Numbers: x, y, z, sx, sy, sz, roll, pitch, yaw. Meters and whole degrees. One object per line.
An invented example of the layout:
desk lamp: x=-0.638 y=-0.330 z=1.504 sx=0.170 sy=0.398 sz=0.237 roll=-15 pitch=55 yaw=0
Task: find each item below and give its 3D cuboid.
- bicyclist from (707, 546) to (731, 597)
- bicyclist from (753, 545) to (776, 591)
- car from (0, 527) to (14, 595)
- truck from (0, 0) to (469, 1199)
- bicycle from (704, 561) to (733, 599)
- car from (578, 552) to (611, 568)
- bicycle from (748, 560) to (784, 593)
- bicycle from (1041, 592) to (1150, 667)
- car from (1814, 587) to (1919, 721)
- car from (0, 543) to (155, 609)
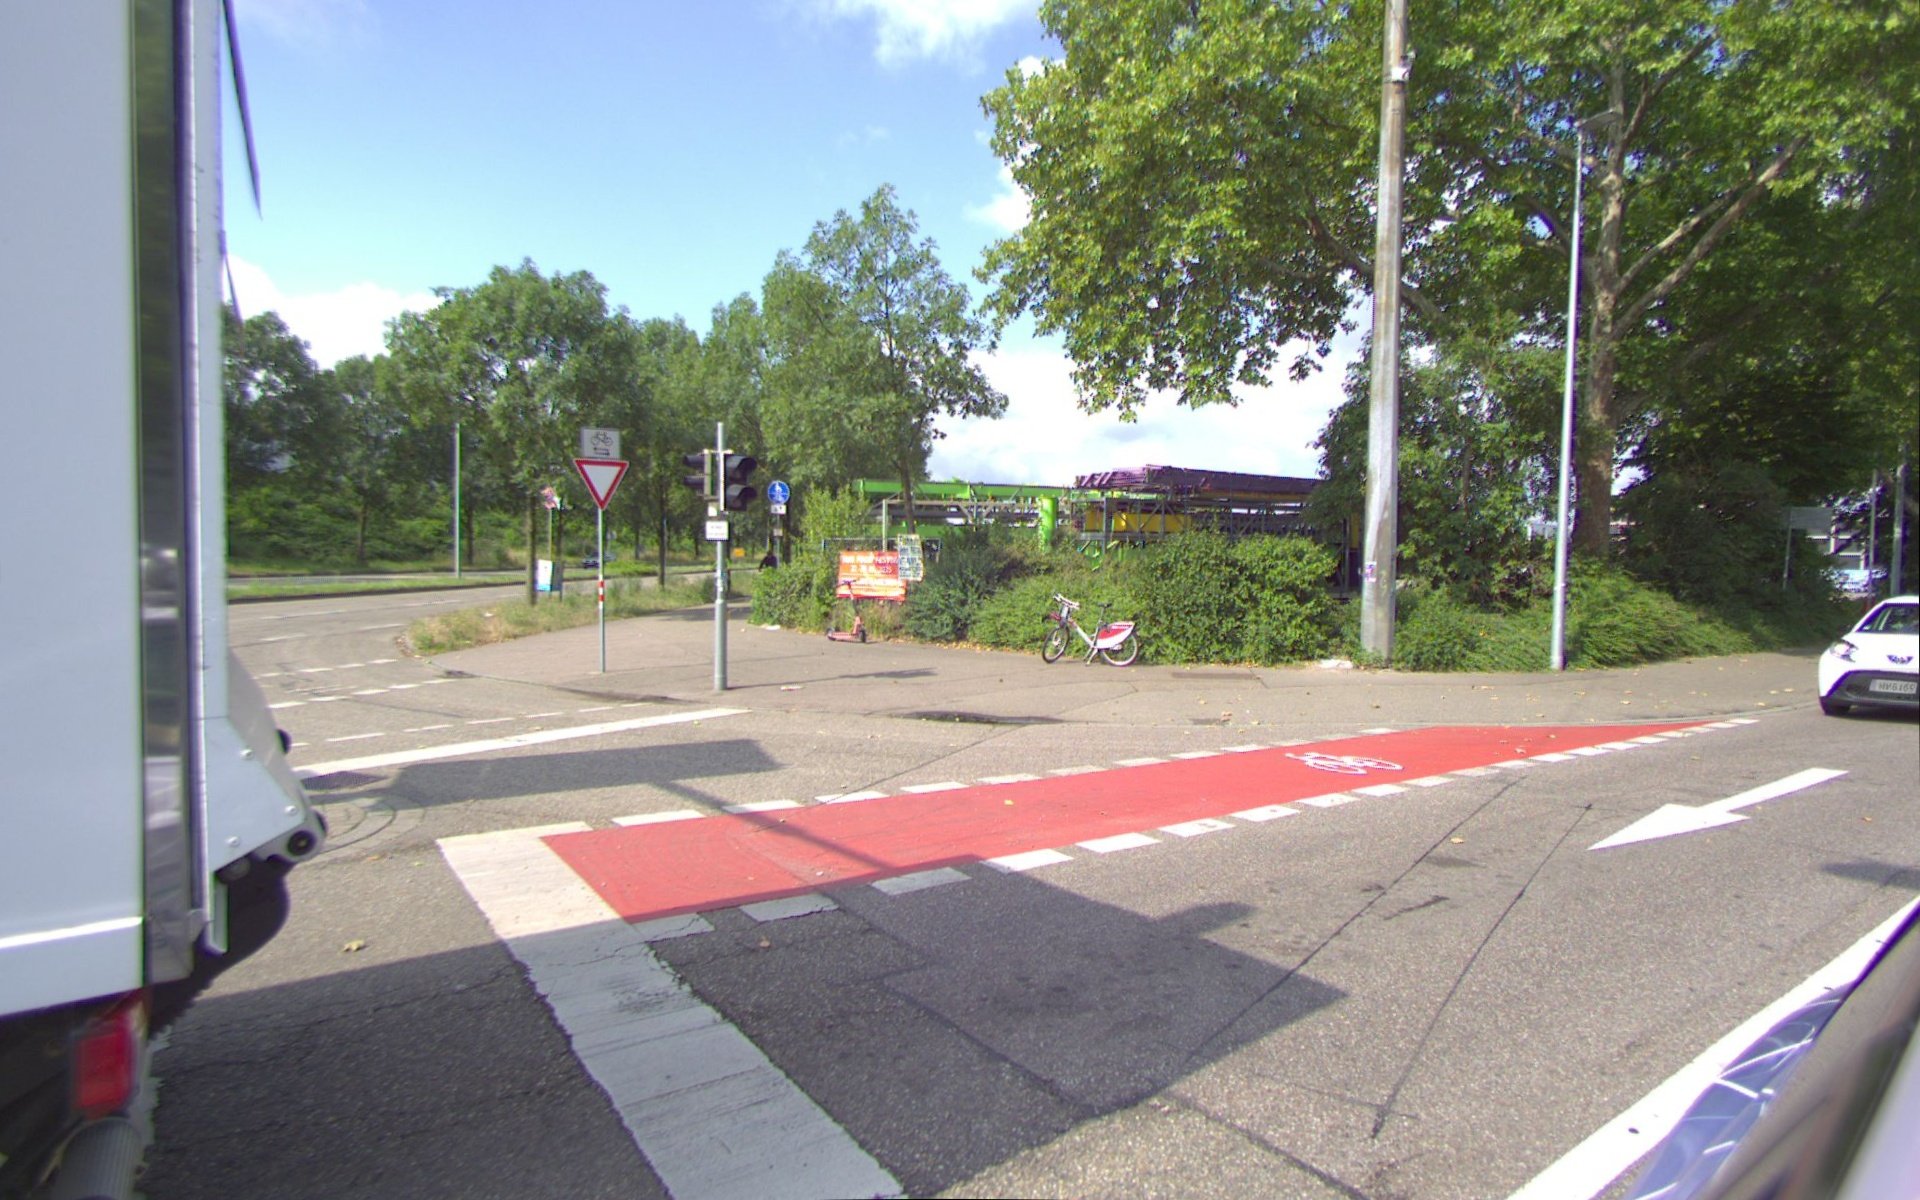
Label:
bicyclist: x=-8.440 y=-0.989 z=35.469 sx=0.664 sy=1.701 sz=0.838 roll=-4 pitch=-1 yaw=-8
bicyclist: x=-7.356 y=-1.189 z=38.127 sx=0.666 sy=1.707 sz=0.754 roll=1 pitch=1 yaw=5
car: x=-24.650 y=-0.879 z=22.931 sx=1.787 sy=1.663 sz=4.802 roll=1 pitch=3 yaw=3
truck: x=-3.907 y=-0.191 z=0.874 sx=5.917 sy=3.160 sz=2.454 roll=-1 pitch=2 yaw=-37
bicycle: x=-8.440 y=-0.692 z=35.426 sx=0.664 sy=1.211 sz=2.235 roll=-4 pitch=-1 yaw=-7
car: x=-28.348 y=-3.079 z=78.548 sx=1.514 sy=1.062 sz=3.372 roll=1 pitch=0 yaw=-3
bicycle: x=-7.293 y=-0.885 z=38.182 sx=0.778 sy=1.211 sz=2.231 roll=1 pitch=1 yaw=5
bicycle: x=2.115 y=0.440 z=15.855 sx=1.621 sy=1.054 sz=0.524 roll=2 pitch=5 yaw=27
car: x=12.357 y=0.597 z=12.542 sx=3.725 sy=1.498 sz=1.751 roll=-1 pitch=1 yaw=-34
car: x=-24.725 y=-0.732 z=27.967 sx=1.612 sy=1.654 sz=4.208 roll=1 pitch=3 yaw=0
